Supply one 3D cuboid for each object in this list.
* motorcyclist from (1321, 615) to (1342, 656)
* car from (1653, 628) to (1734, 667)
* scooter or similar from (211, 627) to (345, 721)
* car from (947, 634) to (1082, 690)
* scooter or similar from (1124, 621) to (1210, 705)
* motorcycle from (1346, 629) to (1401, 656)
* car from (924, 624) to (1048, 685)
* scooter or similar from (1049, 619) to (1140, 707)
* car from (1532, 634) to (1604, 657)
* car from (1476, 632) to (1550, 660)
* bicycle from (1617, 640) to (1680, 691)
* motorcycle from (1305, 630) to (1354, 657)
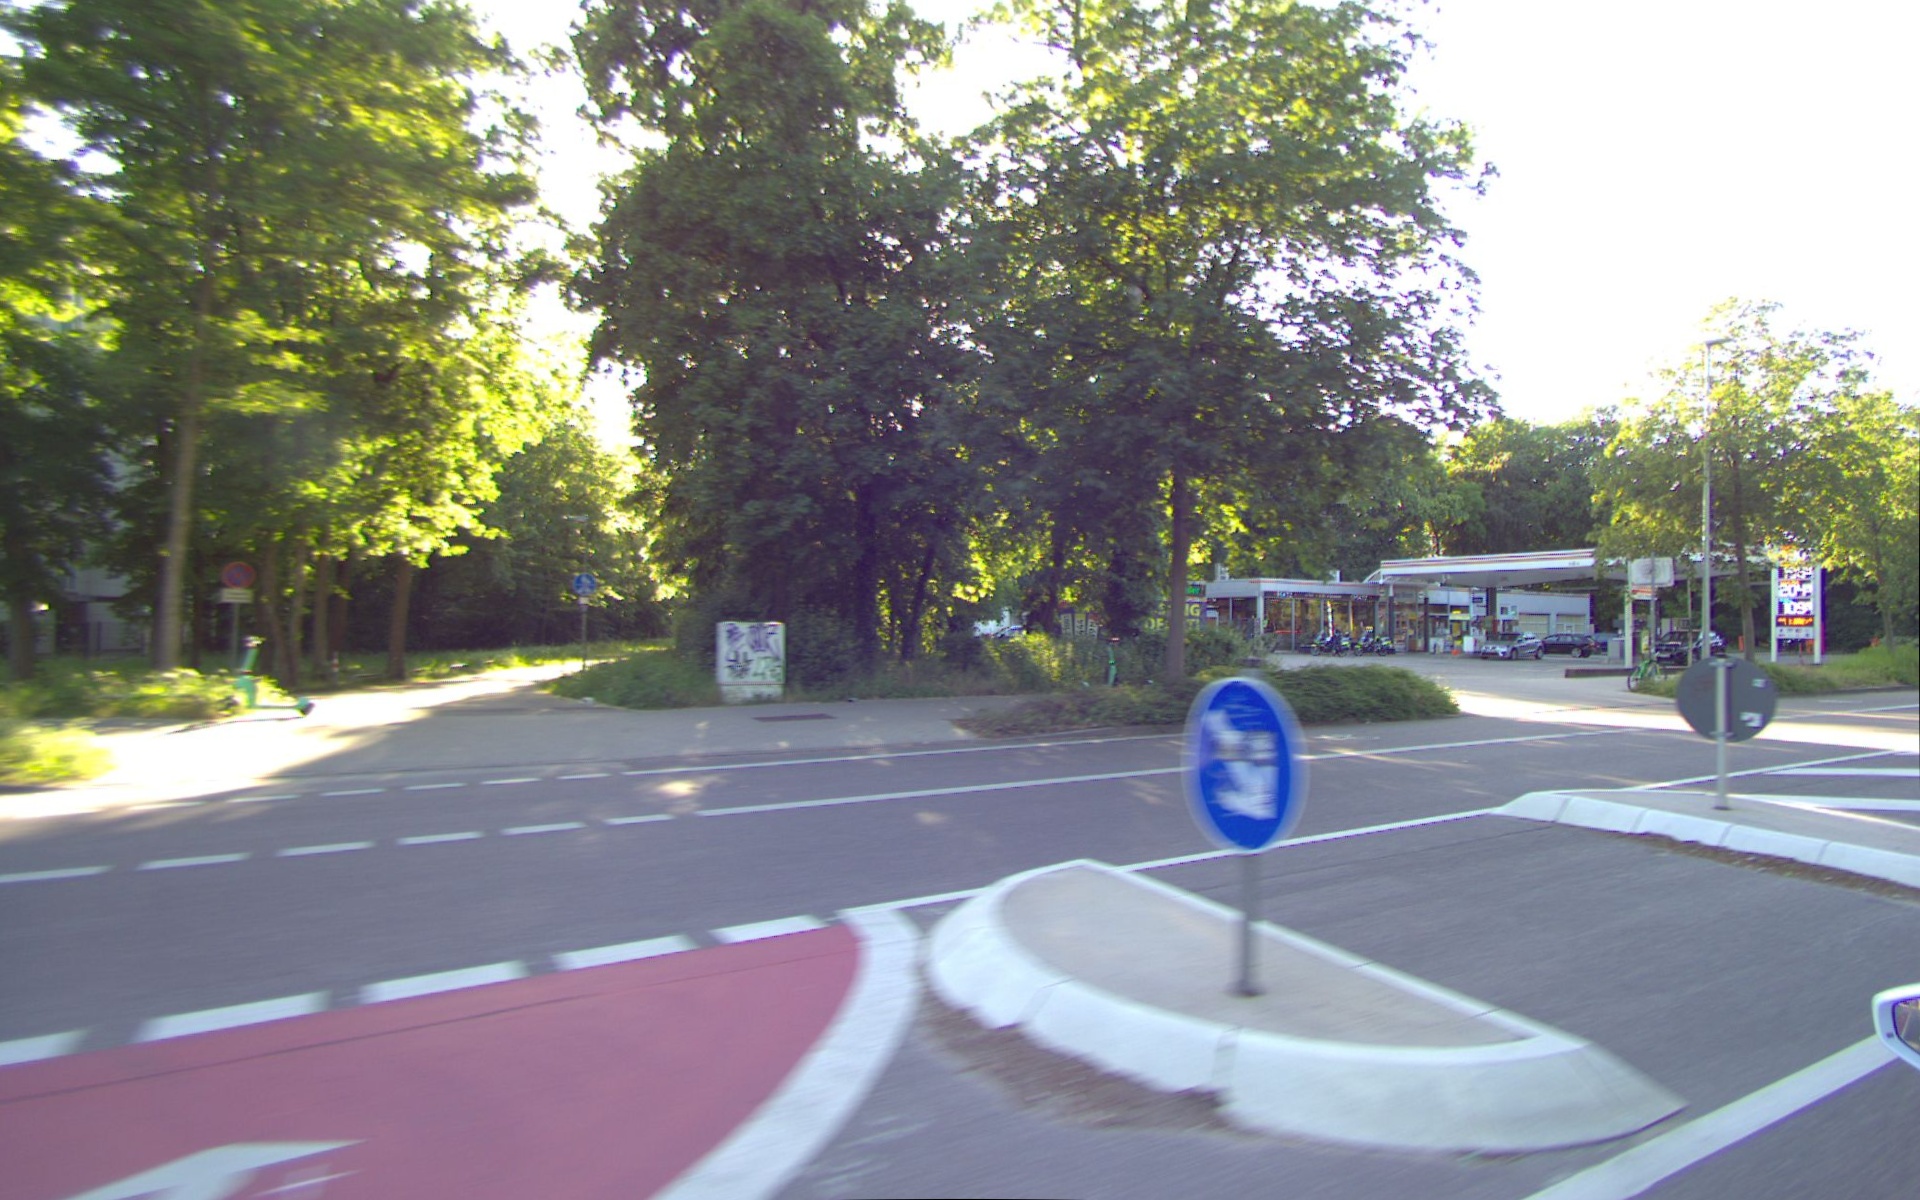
[{"bbox_3d":[20.446,1.938,55.301,0.996,2.211,1.124,0,-1,14],"label":"motorcyclist"},{"bbox_3d":[33.838,2.154,46.297,4.409,1.713,1.700,2,-2,-35],"label":"car"},{"bbox_3d":[-10.089,1.071,14.926,1.552,1.327,0.824,1,-2,-30],"label":"scooter or similar"},{"bbox_3d":[1.415,1.632,26.458,3.421,1.418,1.564,0,-3,1],"label":"car"},{"bbox_3d":[4.457,1.327,21.646,1.720,1.739,0.824,1,-2,-30],"label":"scooter or similar"},{"bbox_3d":[23.571,2.412,57.282,2.693,1.470,1.134,1,-1,-4],"label":"motorcycle"},{"bbox_3d":[0.739,1.533,28.588,3.421,1.673,1.563,0,-1,1],"label":"car"},{"bbox_3d":[2.779,1.277,20.715,1.720,1.739,0.824,1,-2,-30],"label":"scooter or similar"},{"bbox_3d":[38.028,2.839,62.869,1.705,1.371,3.586,2,-2,-44],"label":"car"},{"bbox_3d":[29.230,2.409,53.086,4.014,1.394,1.702,1,-2,-32],"label":"car"},{"bbox_3d":[17.737,1.667,25.862,2.138,1.266,0.650,1,-2,-36],"label":"bicycle"},{"bbox_3d":[20.327,2.387,55.315,2.455,1.470,1.135,0,-1,14],"label":"motorcycle"}]
